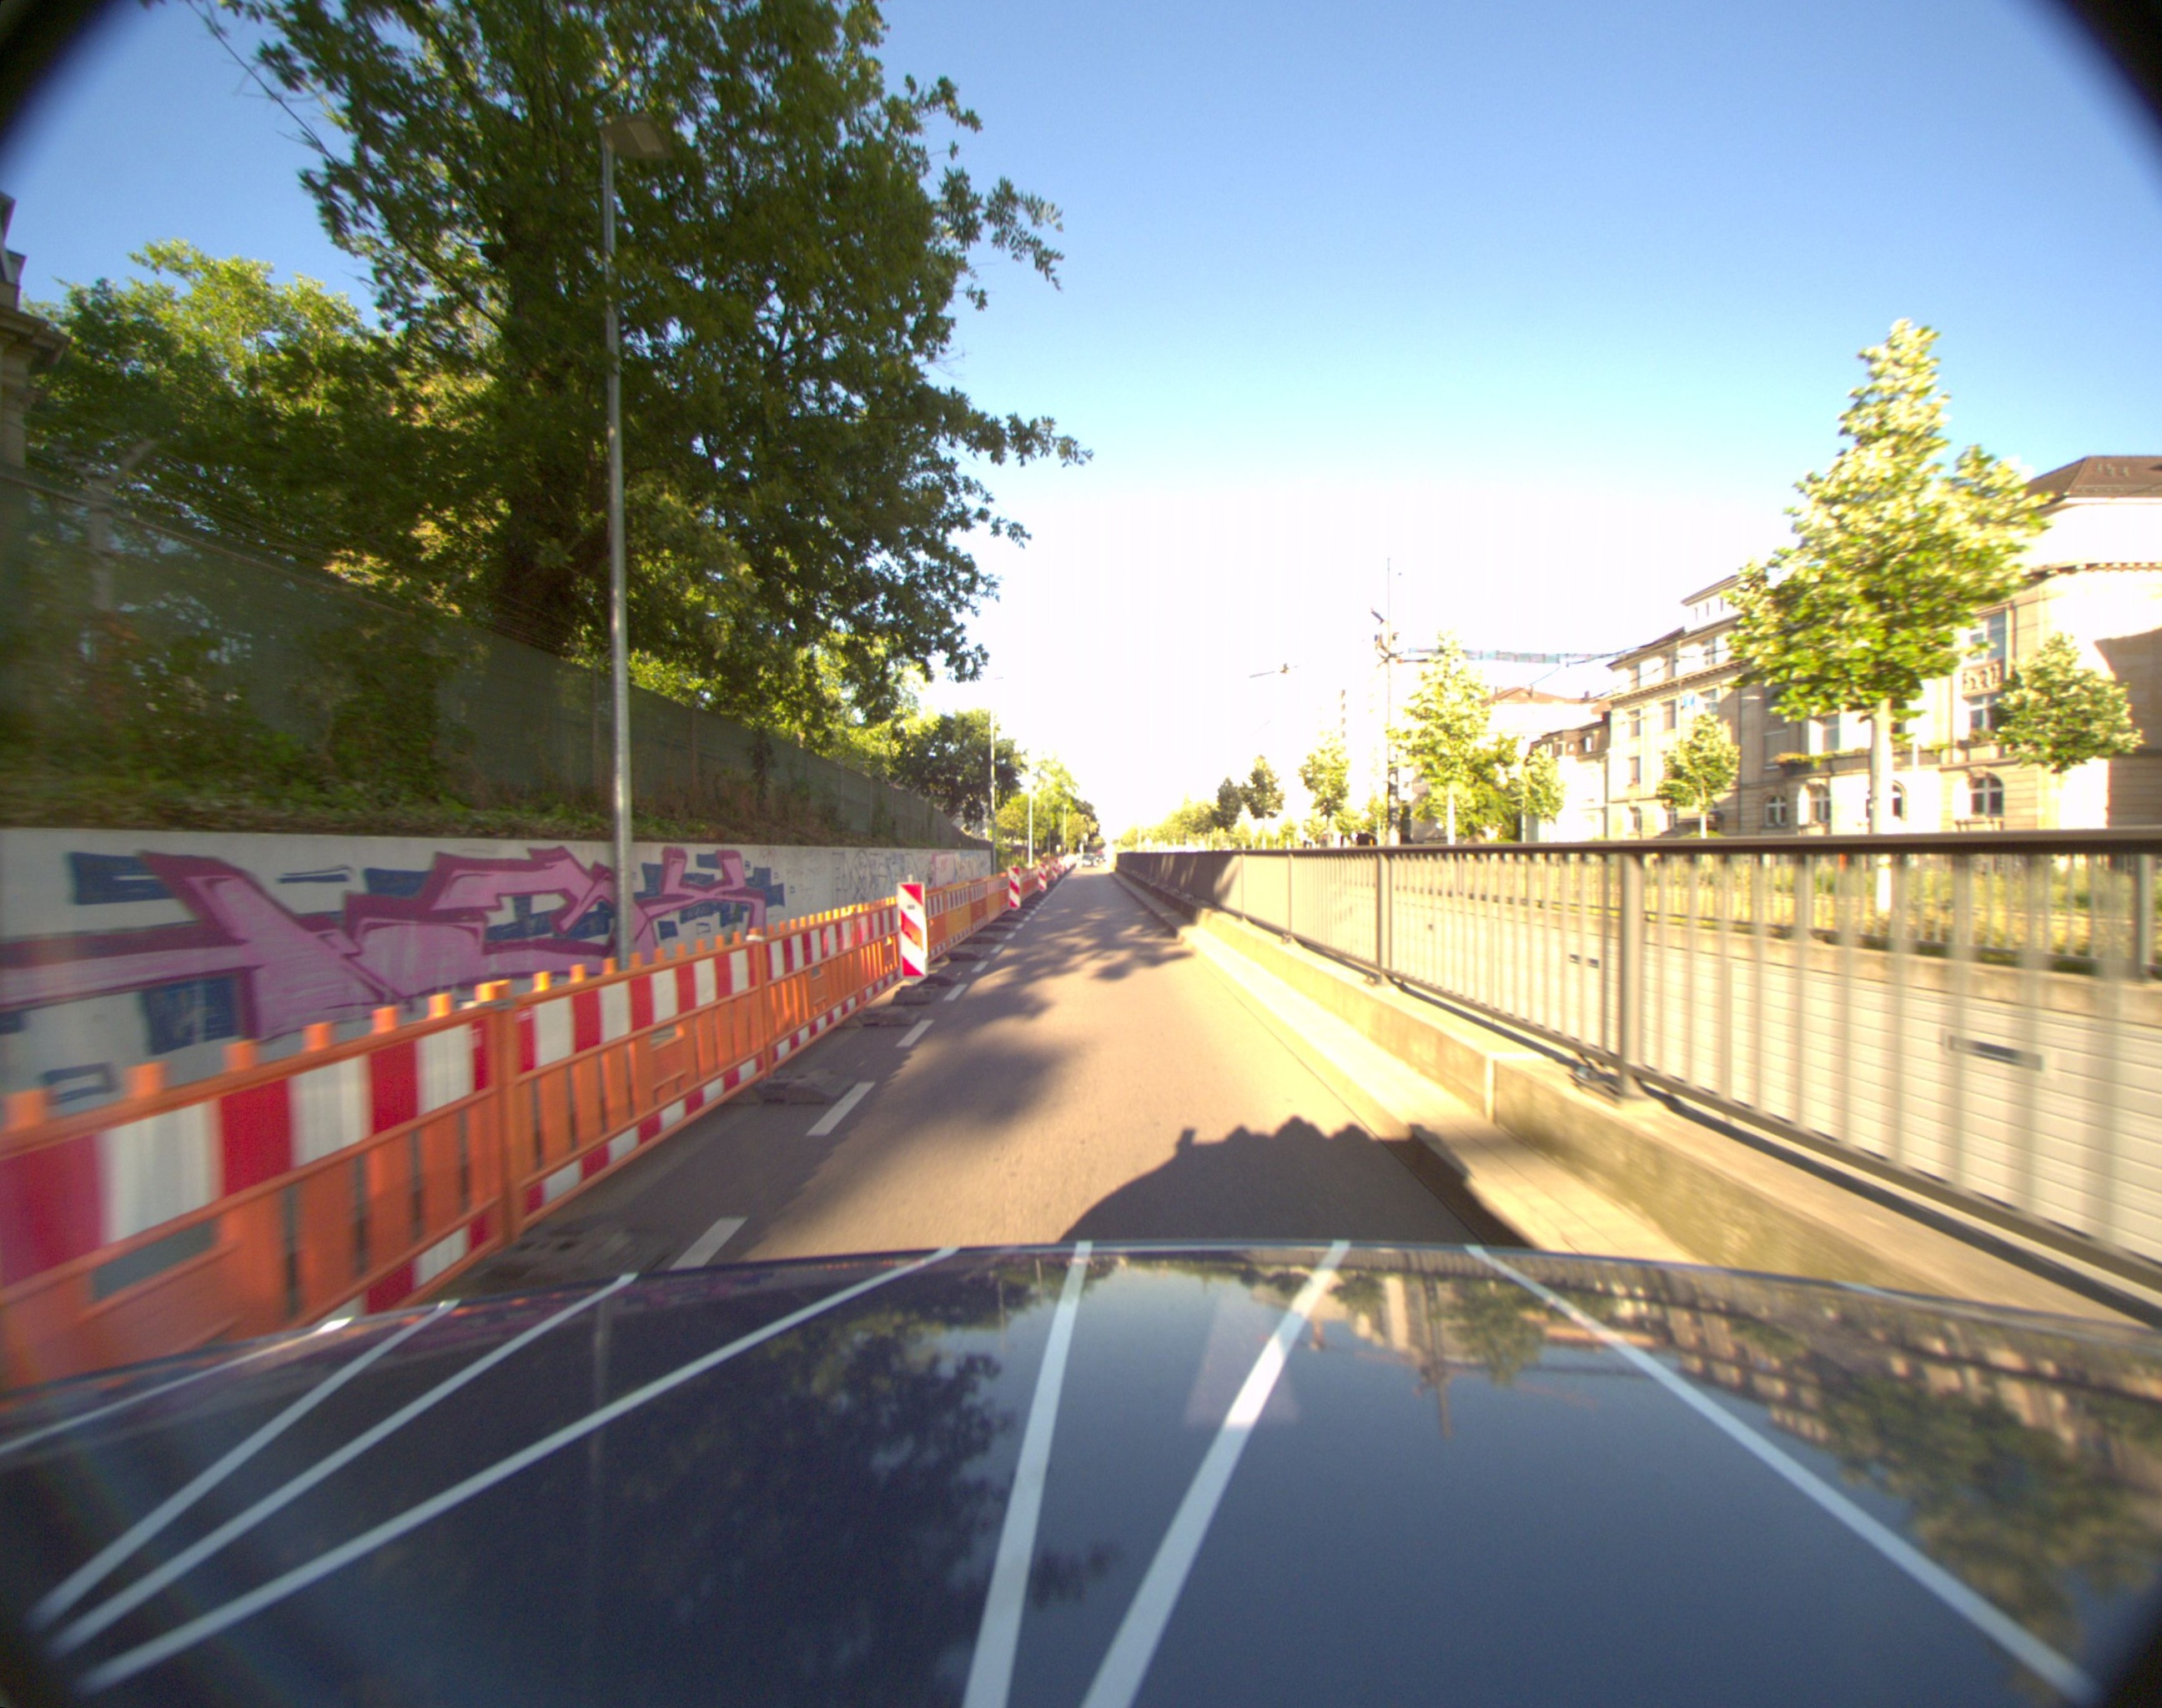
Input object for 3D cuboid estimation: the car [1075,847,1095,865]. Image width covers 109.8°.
[{"bbox_3d":[0.479,0.167,81.344,2.080,1.827,4.000,-1,1,1],"label":"car"}]
